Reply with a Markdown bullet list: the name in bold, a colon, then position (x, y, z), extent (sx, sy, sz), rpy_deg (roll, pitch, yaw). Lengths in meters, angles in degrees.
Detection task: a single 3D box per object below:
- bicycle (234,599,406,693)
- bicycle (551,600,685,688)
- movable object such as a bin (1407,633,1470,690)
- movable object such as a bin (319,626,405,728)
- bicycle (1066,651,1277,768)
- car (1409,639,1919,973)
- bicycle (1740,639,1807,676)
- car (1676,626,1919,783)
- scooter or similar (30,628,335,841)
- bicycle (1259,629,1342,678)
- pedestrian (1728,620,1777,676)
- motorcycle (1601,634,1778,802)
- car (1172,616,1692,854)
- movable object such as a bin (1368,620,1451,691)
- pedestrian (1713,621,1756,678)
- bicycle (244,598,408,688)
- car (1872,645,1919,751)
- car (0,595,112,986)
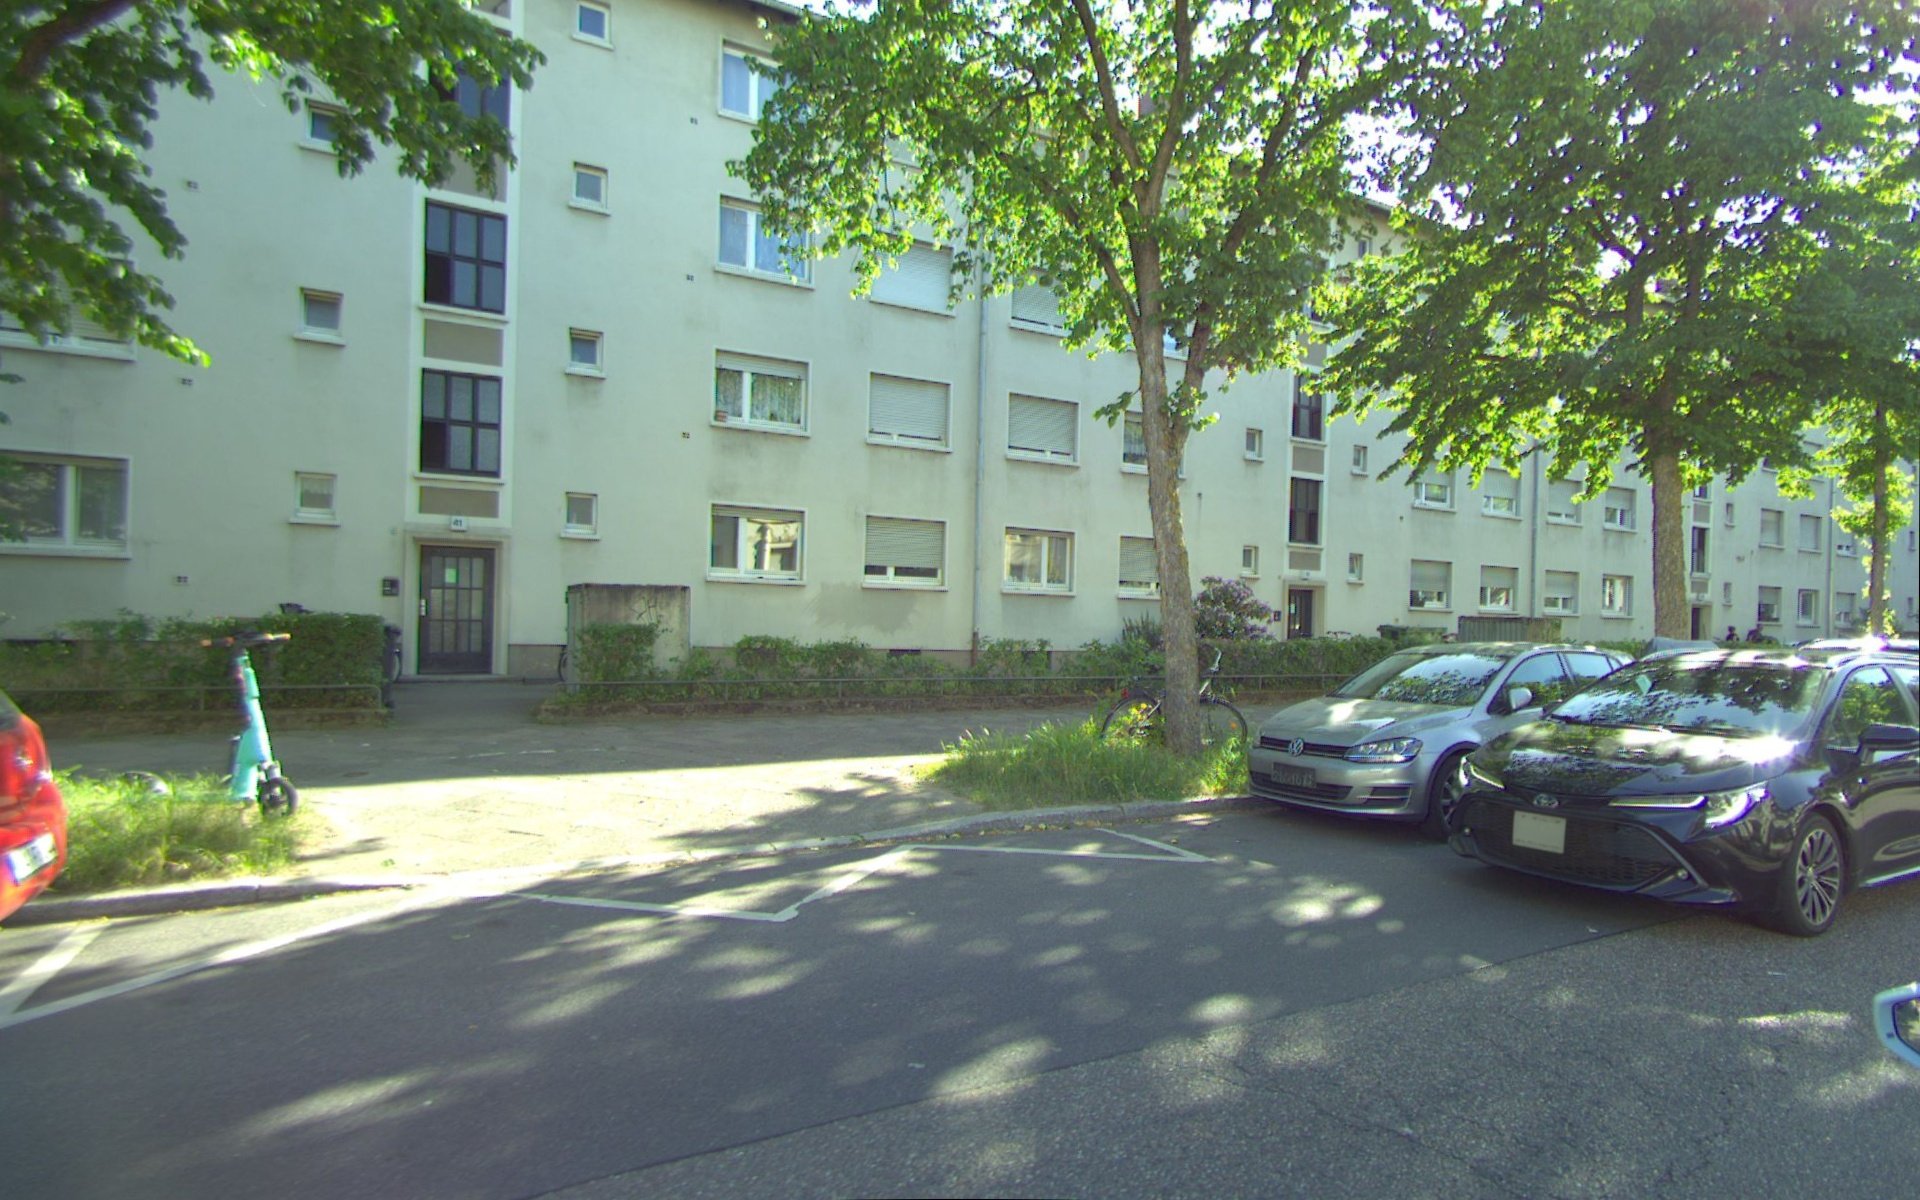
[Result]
- **bicycle**: position (-8.701, 0.624, 13.747), extent (1.887, 1.217, 0.683), rpy_deg (2, -1, -27)
- **bicycle**: position (-5.251, 0.680, 15.470), extent (1.891, 1.306, 0.396), rpy_deg (2, -1, -30)
- **movable object such as a bin**: position (9.798, 1.241, 20.581), extent (0.747, 1.106, 0.924), rpy_deg (2, -1, -34)
- **movable object such as a bin**: position (-6.679, 0.842, 11.253), extent (0.750, 1.082, 0.691), rpy_deg (2, -1, -27)
- **bicycle**: position (2.132, 1.067, 10.063), extent (2.061, 1.029, 0.529), rpy_deg (2, 7, -24)
- **car**: position (5.008, 1.010, 6.354), extent (4.315, 1.464, 1.801), rpy_deg (2, -2, -30)
- **bicycle**: position (27.135, 1.921, 33.513), extent (1.918, 1.168, 0.513), rpy_deg (2, 0, -6)
- **car**: position (11.065, 1.145, 12.356), extent (4.669, 1.544, 2.053), rpy_deg (2, -1, -32)
- **scooter or similar**: position (-4.926, 0.830, 6.418), extent (1.484, 1.251, 0.557), rpy_deg (1, 0, 1)
- **bicycle**: position (7.779, 1.217, 22.919), extent (1.915, 1.055, 0.782), rpy_deg (2, -1, -33)
- **pedestrian**: position (27.680, 1.667, 35.091), extent (1.010, 1.913, 0.932), rpy_deg (2, -1, -20)
- **motorcycle**: position (7.567, 1.139, 10.566), extent (0.970, 1.523, 2.233), rpy_deg (1, -1, 21)
- **car**: position (4.223, 0.968, 8.756), extent (4.557, 1.544, 2.031), rpy_deg (2, -1, -33)
- **movable object such as a bin**: position (8.948, 1.093, 19.977), extent (1.365, 1.341, 0.924), rpy_deg (2, -1, -34)
- **pedestrian**: position (26.539, 1.686, 34.434), extent (0.861, 1.939, 0.783), rpy_deg (1, -1, -2)
- **bicycle**: position (-9.013, 0.612, 14.379), extent (1.887, 1.217, 0.683), rpy_deg (2, -1, -27)
- **car**: position (15.553, 1.409, 14.813), extent (4.763, 1.466, 1.720), rpy_deg (2, -3, -30)
- **car**: position (-5.675, 0.679, 3.251), extent (4.131, 1.489, 1.848), rpy_deg (2, -1, -29)
